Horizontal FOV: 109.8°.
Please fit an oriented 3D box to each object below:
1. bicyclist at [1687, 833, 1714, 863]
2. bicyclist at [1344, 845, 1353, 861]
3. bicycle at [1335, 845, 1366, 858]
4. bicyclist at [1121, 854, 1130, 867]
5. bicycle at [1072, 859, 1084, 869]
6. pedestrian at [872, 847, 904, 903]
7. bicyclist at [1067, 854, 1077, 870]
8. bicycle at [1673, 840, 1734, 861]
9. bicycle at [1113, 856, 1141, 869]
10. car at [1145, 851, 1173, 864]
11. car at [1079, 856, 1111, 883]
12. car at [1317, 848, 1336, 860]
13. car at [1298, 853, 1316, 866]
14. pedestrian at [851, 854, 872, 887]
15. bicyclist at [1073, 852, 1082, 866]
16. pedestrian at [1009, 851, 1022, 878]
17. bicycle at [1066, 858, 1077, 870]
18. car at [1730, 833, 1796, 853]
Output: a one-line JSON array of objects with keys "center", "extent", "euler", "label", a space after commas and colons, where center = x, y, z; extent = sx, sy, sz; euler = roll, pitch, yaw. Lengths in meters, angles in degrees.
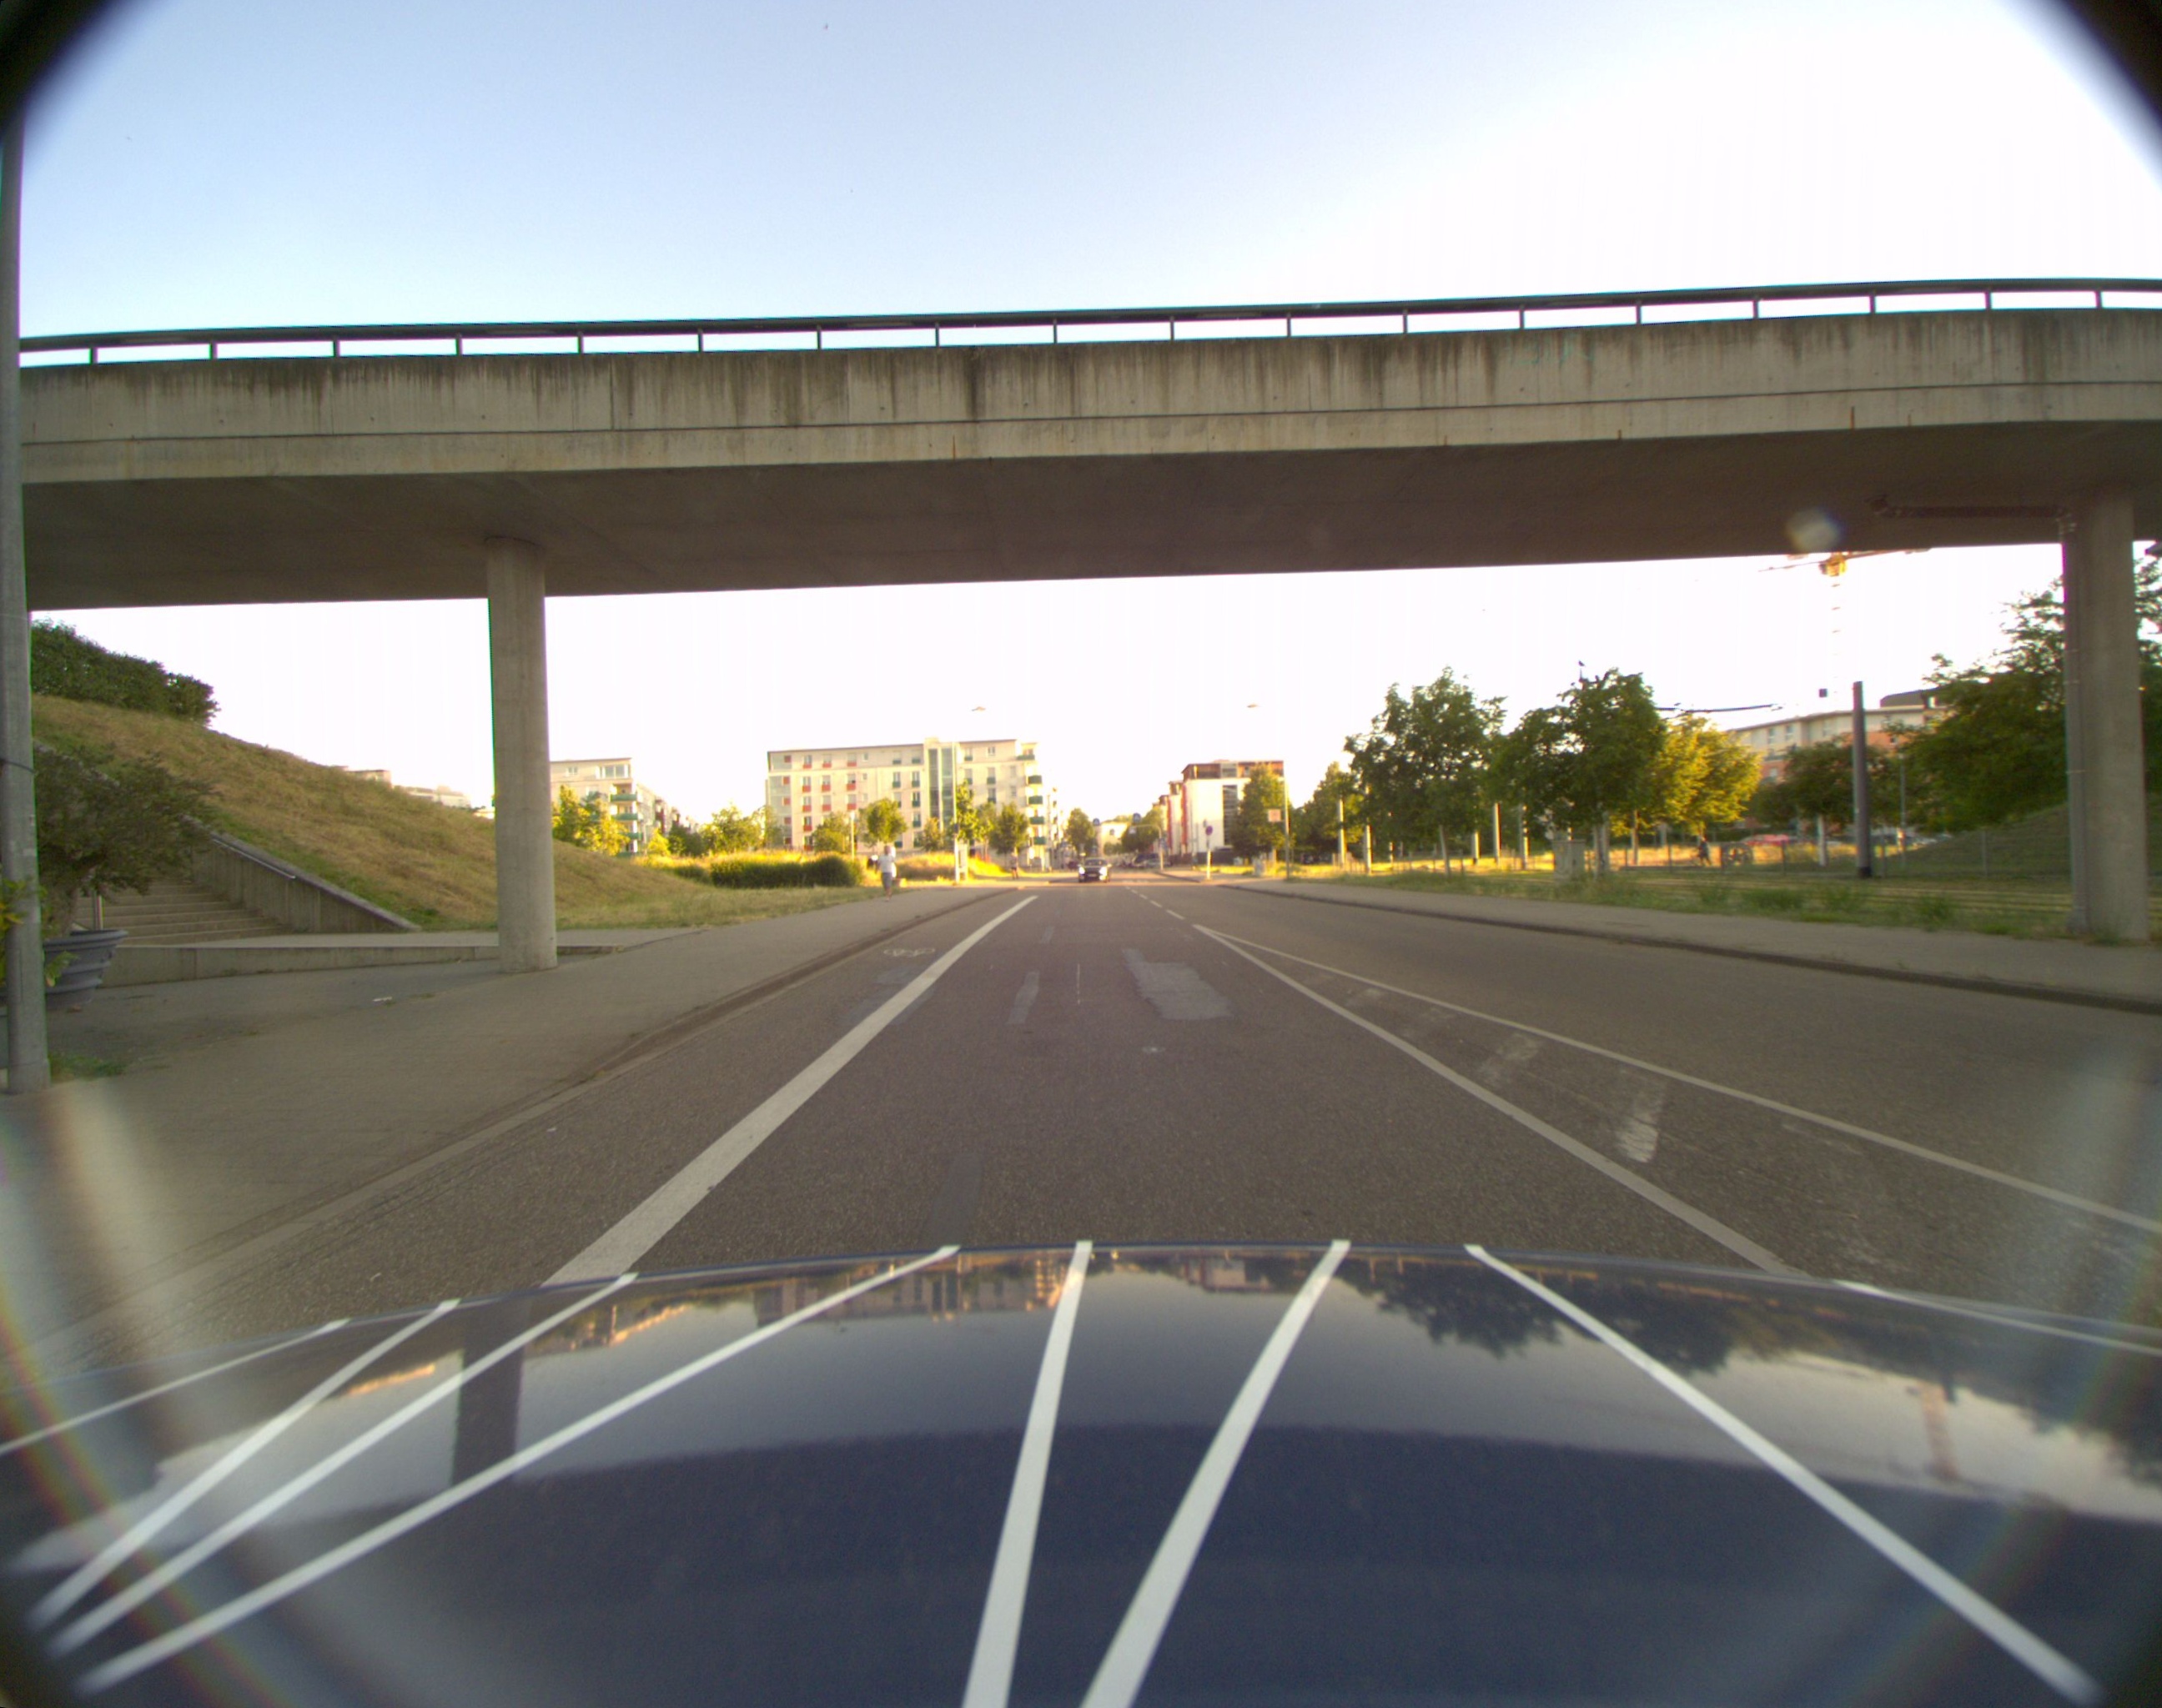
[{"center": [33.997, -0.332, 41.702], "extent": [0.910, 1.622, 0.717], "euler": [-2, 0, -5], "label": "bicyclist"}, {"center": [31.482, -0.152, 89.455], "extent": [1.032, 1.865, 0.885], "euler": [-1, 1, 18], "label": "bicyclist"}, {"center": [31.718, -0.301, 89.362], "extent": [3.315, 1.483, 0.888], "euler": [-2, 0, 15], "label": "bicycle"}, {"center": [5.868, 0.861, 99.524], "extent": [0.917, 1.653, 0.860], "euler": [-2, 0, 23], "label": "bicyclist"}, {"center": [-0.352, 1.158, 87.465], "extent": [0.663, 1.217, 2.435], "euler": [-2, 0, -20], "label": "bicycle"}, {"center": [-6.045, 0.654, 23.830], "extent": [0.737, 1.714, 0.906], "euler": [0, 0, 1], "label": "pedestrian"}, {"center": [-0.957, 0.819, 78.007], "extent": [0.932, 1.585, 1.067], "euler": [-2, 0, -6], "label": "bicyclist"}, {"center": [34.031, -0.190, 41.544], "extent": [2.842, 1.002, 0.655], "euler": [-2, 0, -3], "label": "bicycle"}, {"center": [6.035, 1.089, 99.366], "extent": [3.534, 1.560, 1.020], "euler": [-2, 0, 25], "label": "bicycle"}, {"center": [11.639, 0.536, 113.793], "extent": [3.996, 1.718, 2.000], "euler": [-2, 0, 2], "label": "car"}, {"center": [0.821, 0.889, 44.977], "extent": [1.739, 1.455, 4.000], "euler": [-2, 0, 1], "label": "car"}, {"center": [31.199, -0.012, 96.751], "extent": [1.942, 1.521, 4.004], "euler": [-2, 0, 14], "label": "car"}, {"center": [28.880, 0.678, 97.131], "extent": [1.942, 1.521, 4.004], "euler": [-2, 0, 14], "label": "car"}, {"center": [-10.812, 0.808, 37.419], "extent": [0.737, 1.620, 0.859], "euler": [0, 0, 2], "label": "pedestrian"}, {"center": [-0.353, 0.591, 87.366], "extent": [0.698, 1.630, 0.850], "euler": [-2, 0, -23], "label": "bicyclist"}, {"center": [-4.116, 0.657, 47.854], "extent": [0.737, 1.714, 0.532], "euler": [0, 0, 1], "label": "pedestrian"}, {"center": [-1.010, 0.983, 77.968], "extent": [0.900, 1.142, 3.497], "euler": [-2, 0, -4], "label": "bicycle"}, {"center": [77.374, -1.257, 86.259], "extent": [5.520, 2.002, 2.001], "euler": [-2, 0, 5], "label": "car"}]
